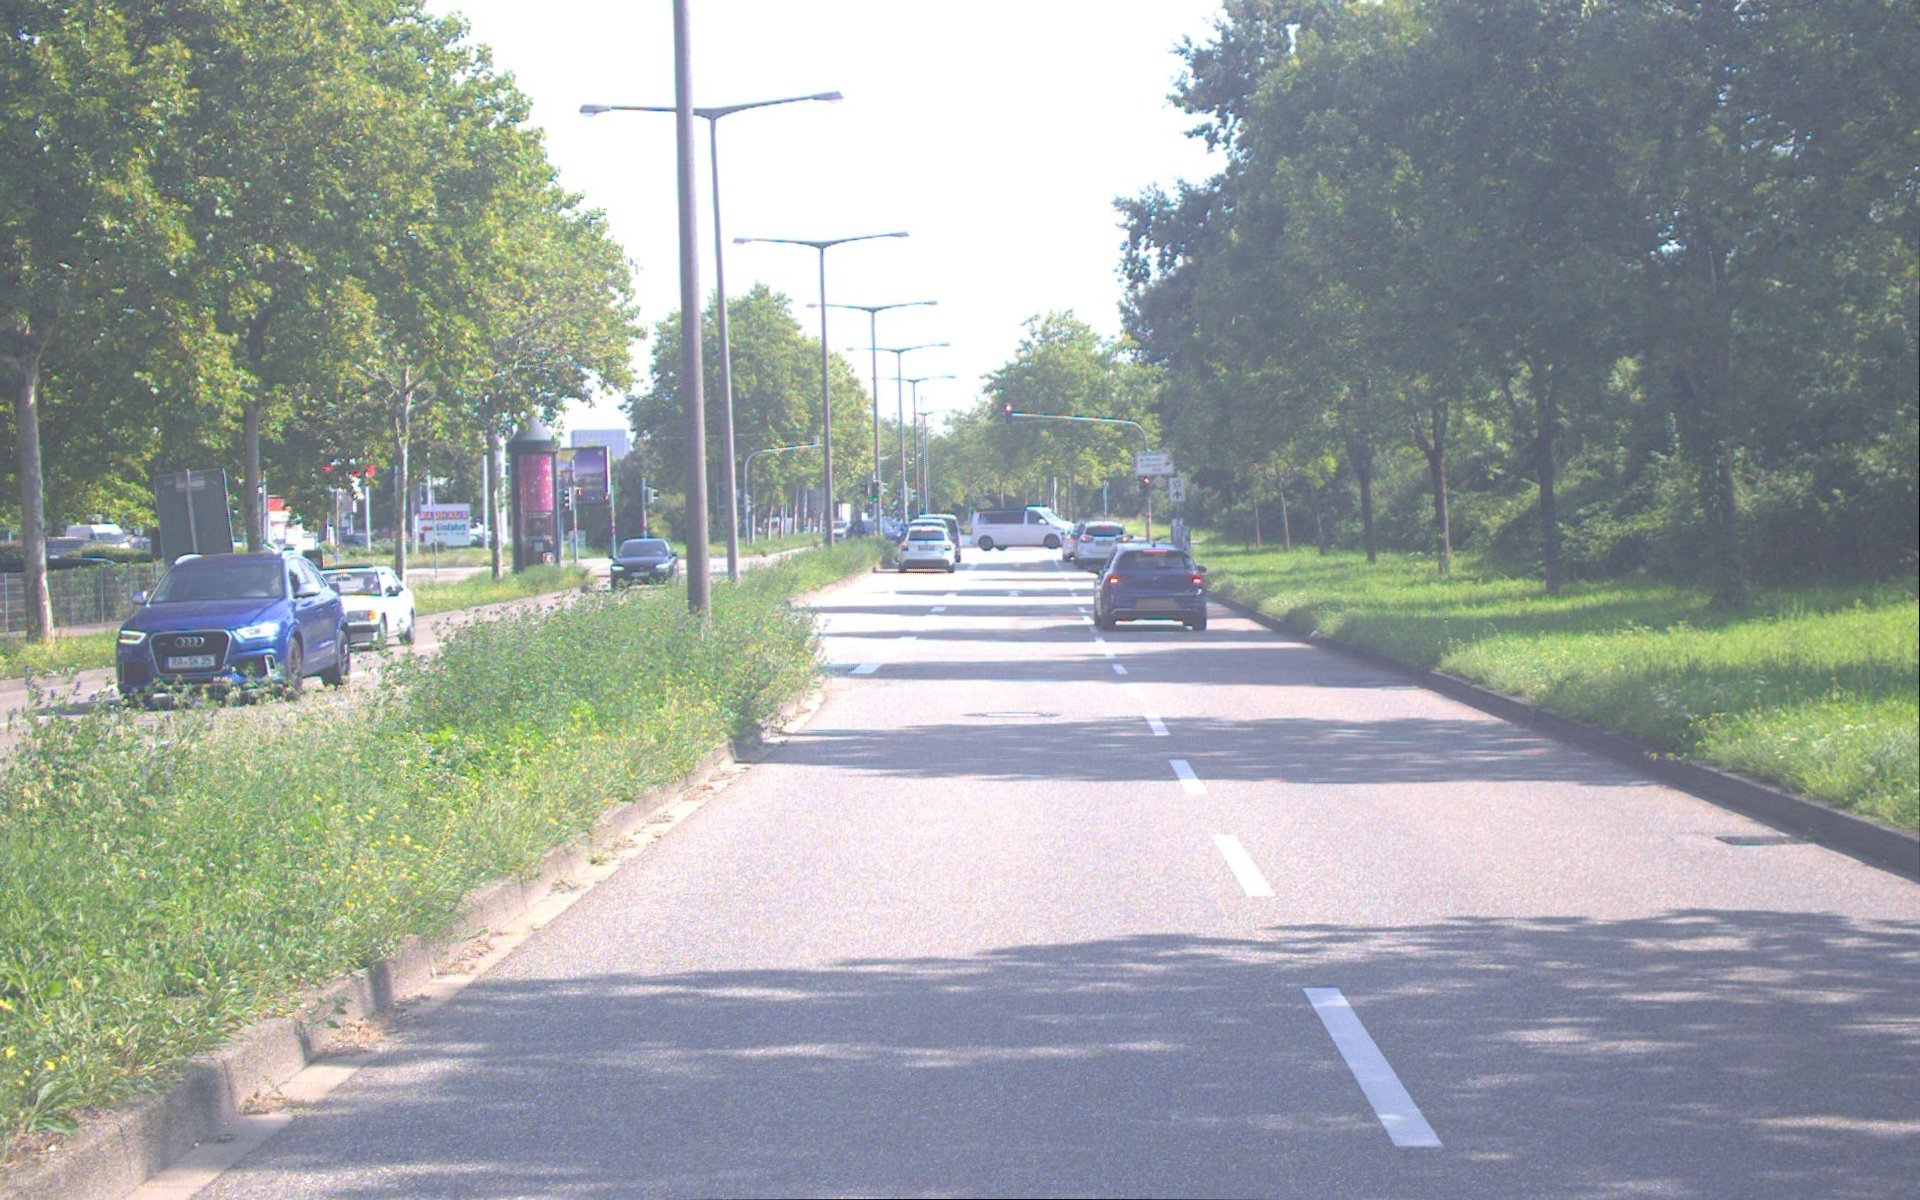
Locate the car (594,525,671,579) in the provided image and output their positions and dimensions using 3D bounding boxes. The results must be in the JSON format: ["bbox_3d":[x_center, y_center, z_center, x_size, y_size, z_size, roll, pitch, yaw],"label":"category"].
[{"bbox_3d":[-9.231,-1.354,97.142,1.795,1.412,4.411,-3,1,-1],"label":"car"}]

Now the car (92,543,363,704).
[{"bbox_3d":[-7.747,0.197,36.777,1.993,1.579,4.347,-1,1,-1],"label":"car"}]

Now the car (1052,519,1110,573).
[{"bbox_3d":[4.579,-2.068,130.662,1.993,1.648,4.002,-2,6,0],"label":"car"}]

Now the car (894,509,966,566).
[{"bbox_3d":[-0.935,-1.986,109.178,1.994,1.696,4.000,-2,1,3],"label":"car"}]

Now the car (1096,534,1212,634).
[{"bbox_3d":[3.230,-0.298,57.801,1.780,1.423,4.001,0,4,1],"label":"car"}]

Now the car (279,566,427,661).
[{"bbox_3d":[-10.012,0.194,56.963,1.795,1.412,4.411,-3,1,-2],"label":"car"}]

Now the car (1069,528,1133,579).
[{"bbox_3d":[4.769,-1.582,116.807,1.993,1.648,4.000,-2,1,1],"label":"car"}]
